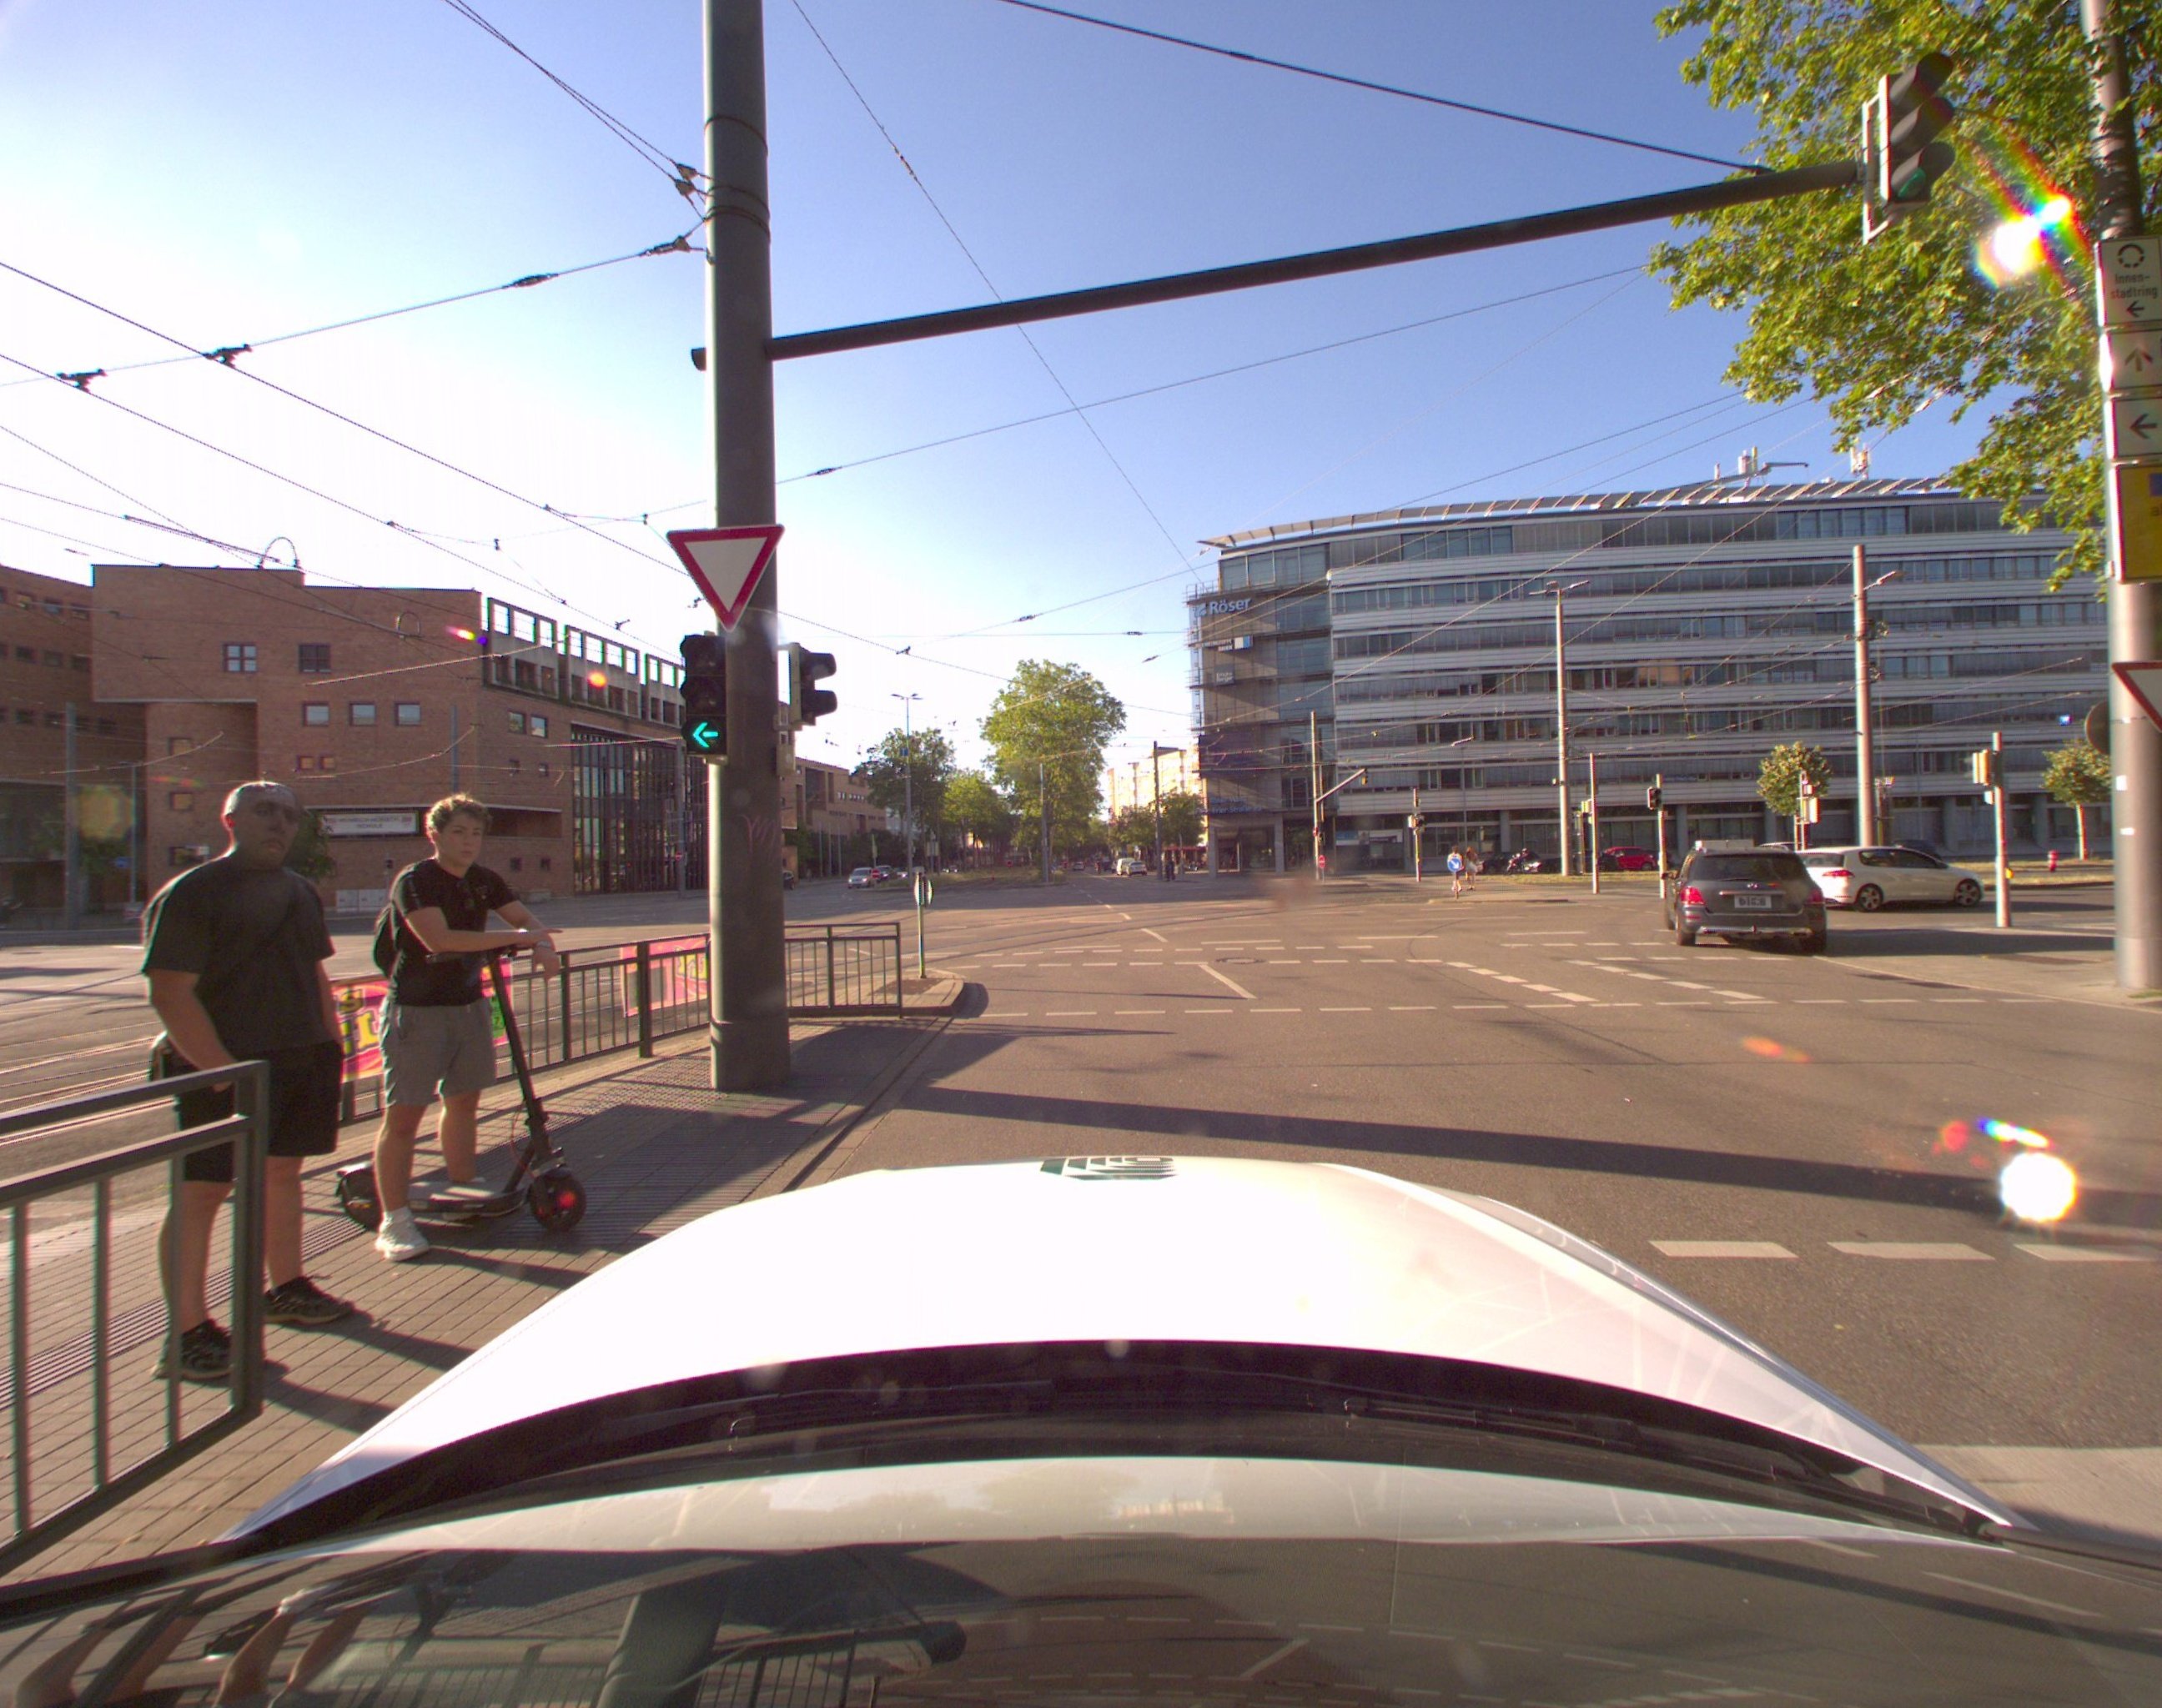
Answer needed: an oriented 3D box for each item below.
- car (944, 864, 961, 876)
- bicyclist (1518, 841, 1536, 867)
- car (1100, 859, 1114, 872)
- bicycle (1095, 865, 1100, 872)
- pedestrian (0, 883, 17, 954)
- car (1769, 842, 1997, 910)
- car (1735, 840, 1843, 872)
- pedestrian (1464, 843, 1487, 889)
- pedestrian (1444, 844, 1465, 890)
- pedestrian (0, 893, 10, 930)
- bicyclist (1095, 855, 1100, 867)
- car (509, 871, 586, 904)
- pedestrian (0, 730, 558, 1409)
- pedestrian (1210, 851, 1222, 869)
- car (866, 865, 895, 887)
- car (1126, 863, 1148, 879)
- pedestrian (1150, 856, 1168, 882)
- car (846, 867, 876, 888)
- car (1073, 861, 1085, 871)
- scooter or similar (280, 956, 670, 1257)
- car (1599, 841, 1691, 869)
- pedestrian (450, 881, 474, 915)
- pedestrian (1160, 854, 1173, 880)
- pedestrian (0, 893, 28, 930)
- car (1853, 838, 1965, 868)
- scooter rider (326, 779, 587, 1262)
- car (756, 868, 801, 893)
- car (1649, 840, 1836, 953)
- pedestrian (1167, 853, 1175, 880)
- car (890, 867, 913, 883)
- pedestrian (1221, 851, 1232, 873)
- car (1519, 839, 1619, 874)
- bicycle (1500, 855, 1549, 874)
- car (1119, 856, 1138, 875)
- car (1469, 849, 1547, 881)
[{"bbox_3d":[-20.328,2.581,128.811,1.837,1.783,4.002,-2,-1,2],"label":"car"},{"bbox_3d":[25.789,0.002,47.116,0.660,1.503,0.614,-2,-1,7],"label":"bicyclist"},{"bbox_3d":[3.988,1.757,124.974,1.986,2.014,4.001,0,-1,2],"label":"car"},{"bbox_3d":[1.934,1.656,94.663,0.489,0.788,1.862,-1,-1,2],"label":"bicycle"},{"bbox_3d":[-31.137,1.831,22.809,1.029,2.014,1.208,0,-1,2],"label":"pedestrian"},{"bbox_3d":[18.435,0.475,18.796,3.969,1.428,1.636,-1,-1,-7],"label":"car"},{"bbox_3d":[37.504,0.131,43.239,3.967,1.596,1.884,-1,-1,5],"label":"car"},{"bbox_3d":[15.435,0.475,31.864,0.677,1.759,0.746,-2,-1,22],"label":"pedestrian"},{"bbox_3d":[14.767,0.508,32.173,0.671,1.759,0.746,-2,-1,23],"label":"pedestrian"},{"bbox_3d":[-60.442,3.196,45.124,1.003,2.052,0.850,-2,-1,0],"label":"pedestrian"},{"bbox_3d":[1.936,0.816,94.663,0.485,1.439,0.616,1,0,2],"label":"bicyclist"},{"bbox_3d":[-36.361,2.246,55.629,1.981,2.014,4.204,-2,-1,10],"label":"car"},{"bbox_3d":[-2.657,0.620,2.749,1.161,1.884,0.856,-2,-1,6],"label":"pedestrian"},{"bbox_3d":[16.455,0.714,99.287,1.305,2.190,1.173,-1,-1,8],"label":"pedestrian"},{"bbox_3d":[-17.985,1.950,73.345,1.819,1.790,3.994,-2,-1,-4],"label":"car"},{"bbox_3d":[5.554,1.705,81.065,2.022,1.596,4.001,0,-1,2],"label":"car"},{"bbox_3d":[6.103,1.181,63.844,1.337,1.950,1.012,-2,-1,1],"label":"pedestrian"},{"bbox_3d":[-17.897,1.902,66.362,1.618,1.577,3.994,-2,-1,-4],"label":"car"},{"bbox_3d":[-0.358,1.997,136.438,1.740,1.418,4.005,-1,0,4],"label":"car"},{"bbox_3d":[-2.559,1.037,3.521,1.196,1.081,0.649,-2,-1,5],"label":"scooter or similar"},{"bbox_3d":[32.195,0.067,46.567,3.966,1.552,1.800,-1,-1,7],"label":"car"},{"bbox_3d":[-35.618,2.513,46.864,0.720,1.902,0.875,0,-1,-1],"label":"pedestrian"},{"bbox_3d":[6.549,1.015,62.480,0.846,2.014,0.707,0,-1,-1],"label":"pedestrian"},{"bbox_3d":[-61.361,3.266,46.598,1.003,2.052,0.850,-2,-1,0],"label":"pedestrian"},{"bbox_3d":[45.783,-0.025,45.081,4.097,1.596,1.884,-1,-1,5],"label":"car"},{"bbox_3d":[-2.643,0.655,3.515,0.563,1.853,0.681,-2,-3,6],"label":"scooter rider"},{"bbox_3d":[-26.323,2.278,71.011,1.867,2.014,4.477,-2,-1,4],"label":"car"},{"bbox_3d":[11.135,0.627,14.044,1.748,1.636,4.276,-1,-1,29],"label":"car"},{"bbox_3d":[6.784,0.944,61.280,0.584,2.014,0.620,0,-1,2],"label":"pedestrian"},{"bbox_3d":[-17.982,2.101,81.626,1.673,1.607,3.993,0,-1,-4],"label":"car"},{"bbox_3d":[13.322,0.732,74.522,0.866,2.014,0.794,0,-2,2],"label":"pedestrian"},{"bbox_3d":[26.509,0.131,44.337,4.234,1.723,1.886,-2,-1,4],"label":"car"},{"bbox_3d":[25.634,0.617,47.127,2.397,1.022,0.638,-2,-1,6],"label":"bicycle"},{"bbox_3d":[5.105,1.222,87.990,1.986,2.014,4.001,0,-1,2],"label":"car"},{"bbox_3d":[27.437,0.724,52.416,3.971,2.014,2.001,0,-1,2],"label":"car"}]
